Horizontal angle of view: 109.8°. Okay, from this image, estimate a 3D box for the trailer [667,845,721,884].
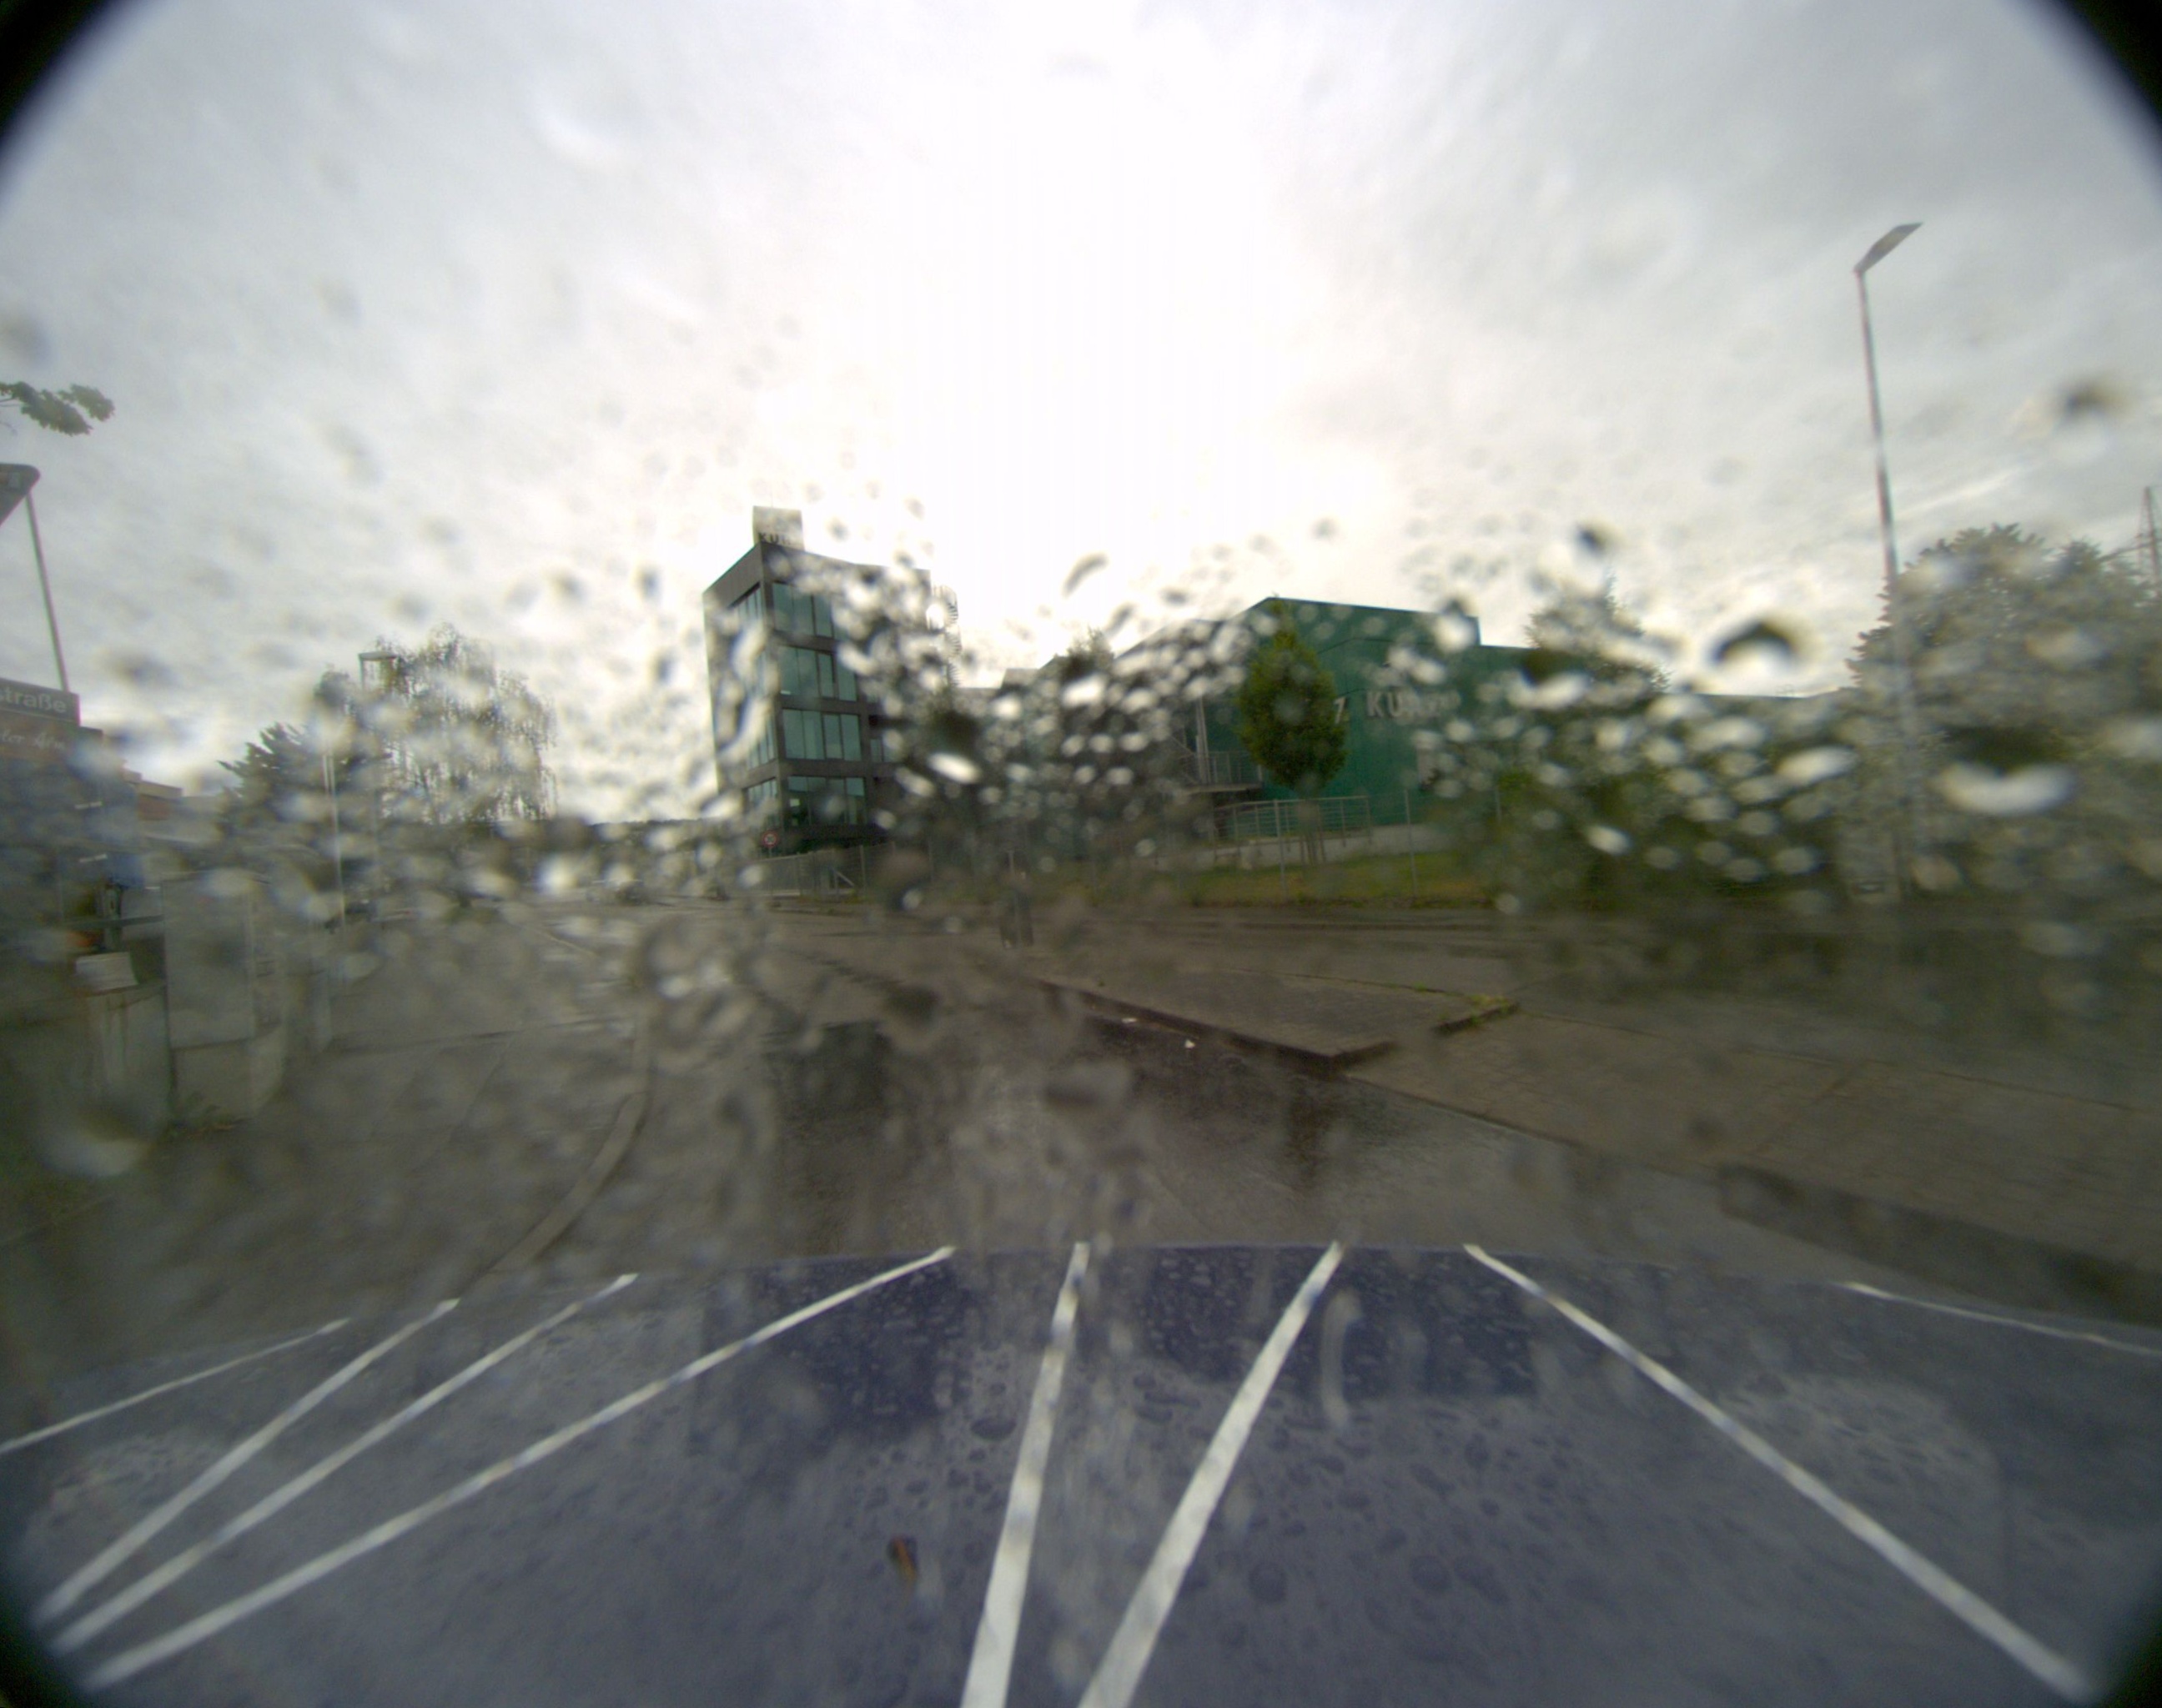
[{"bbox_3d":[-43.053,1.148,84.584,4.692,4.065,2.391,-3,1,12],"label":"trailer"}]

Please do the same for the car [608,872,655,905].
[{"bbox_3d":[-26.687,2.032,45.047,1.748,1.787,3.948,-4,1,-39],"label":"car"}]

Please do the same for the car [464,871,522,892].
[{"bbox_3d":[-72.631,3.376,93.991,5.162,2.281,2.198,-3,1,-24],"label":"car"}]

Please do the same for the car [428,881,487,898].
[{"bbox_3d":[-68.692,3.904,83.785,4.631,1.488,1.937,-3,1,-26],"label":"car"}]

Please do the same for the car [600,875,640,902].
[{"bbox_3d":[-29.921,2.206,49.247,1.640,1.549,4.073,-3,1,-38],"label":"car"}]

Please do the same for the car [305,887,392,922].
[{"bbox_3d":[-46.913,3.208,48.741,3.447,1.492,1.615,-13,4,-25],"label":"car"}]

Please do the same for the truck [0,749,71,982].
[{"bbox_3d":[-10.069,0.102,5.283,2.116,2.201,5.638,-3,1,-37],"label":"truck"}]

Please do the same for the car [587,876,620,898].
[{"bbox_3d":[-36.450,2.484,58.005,1.743,1.527,4.239,-4,1,-36],"label":"car"}]

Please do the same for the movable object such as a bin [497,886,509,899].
[{"bbox_3d":[-51.549,3.392,67.739,0.737,1.084,0.593,-3,1,-32],"label":"movable object such as a bin"}]

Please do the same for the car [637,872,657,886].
[{"bbox_3d":[-67.956,3.930,119.136,2.002,2.002,3.993,-3,0,-20],"label":"car"}]

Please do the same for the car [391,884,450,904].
[{"bbox_3d":[-61.048,3.704,70.300,3.756,1.531,1.627,-3,1,-28],"label":"car"}]

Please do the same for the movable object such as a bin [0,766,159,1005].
[{"bbox_3d":[-7.594,0.238,5.226,1.313,1.492,1.854,-4,1,-44],"label":"movable object such as a bin"}]
